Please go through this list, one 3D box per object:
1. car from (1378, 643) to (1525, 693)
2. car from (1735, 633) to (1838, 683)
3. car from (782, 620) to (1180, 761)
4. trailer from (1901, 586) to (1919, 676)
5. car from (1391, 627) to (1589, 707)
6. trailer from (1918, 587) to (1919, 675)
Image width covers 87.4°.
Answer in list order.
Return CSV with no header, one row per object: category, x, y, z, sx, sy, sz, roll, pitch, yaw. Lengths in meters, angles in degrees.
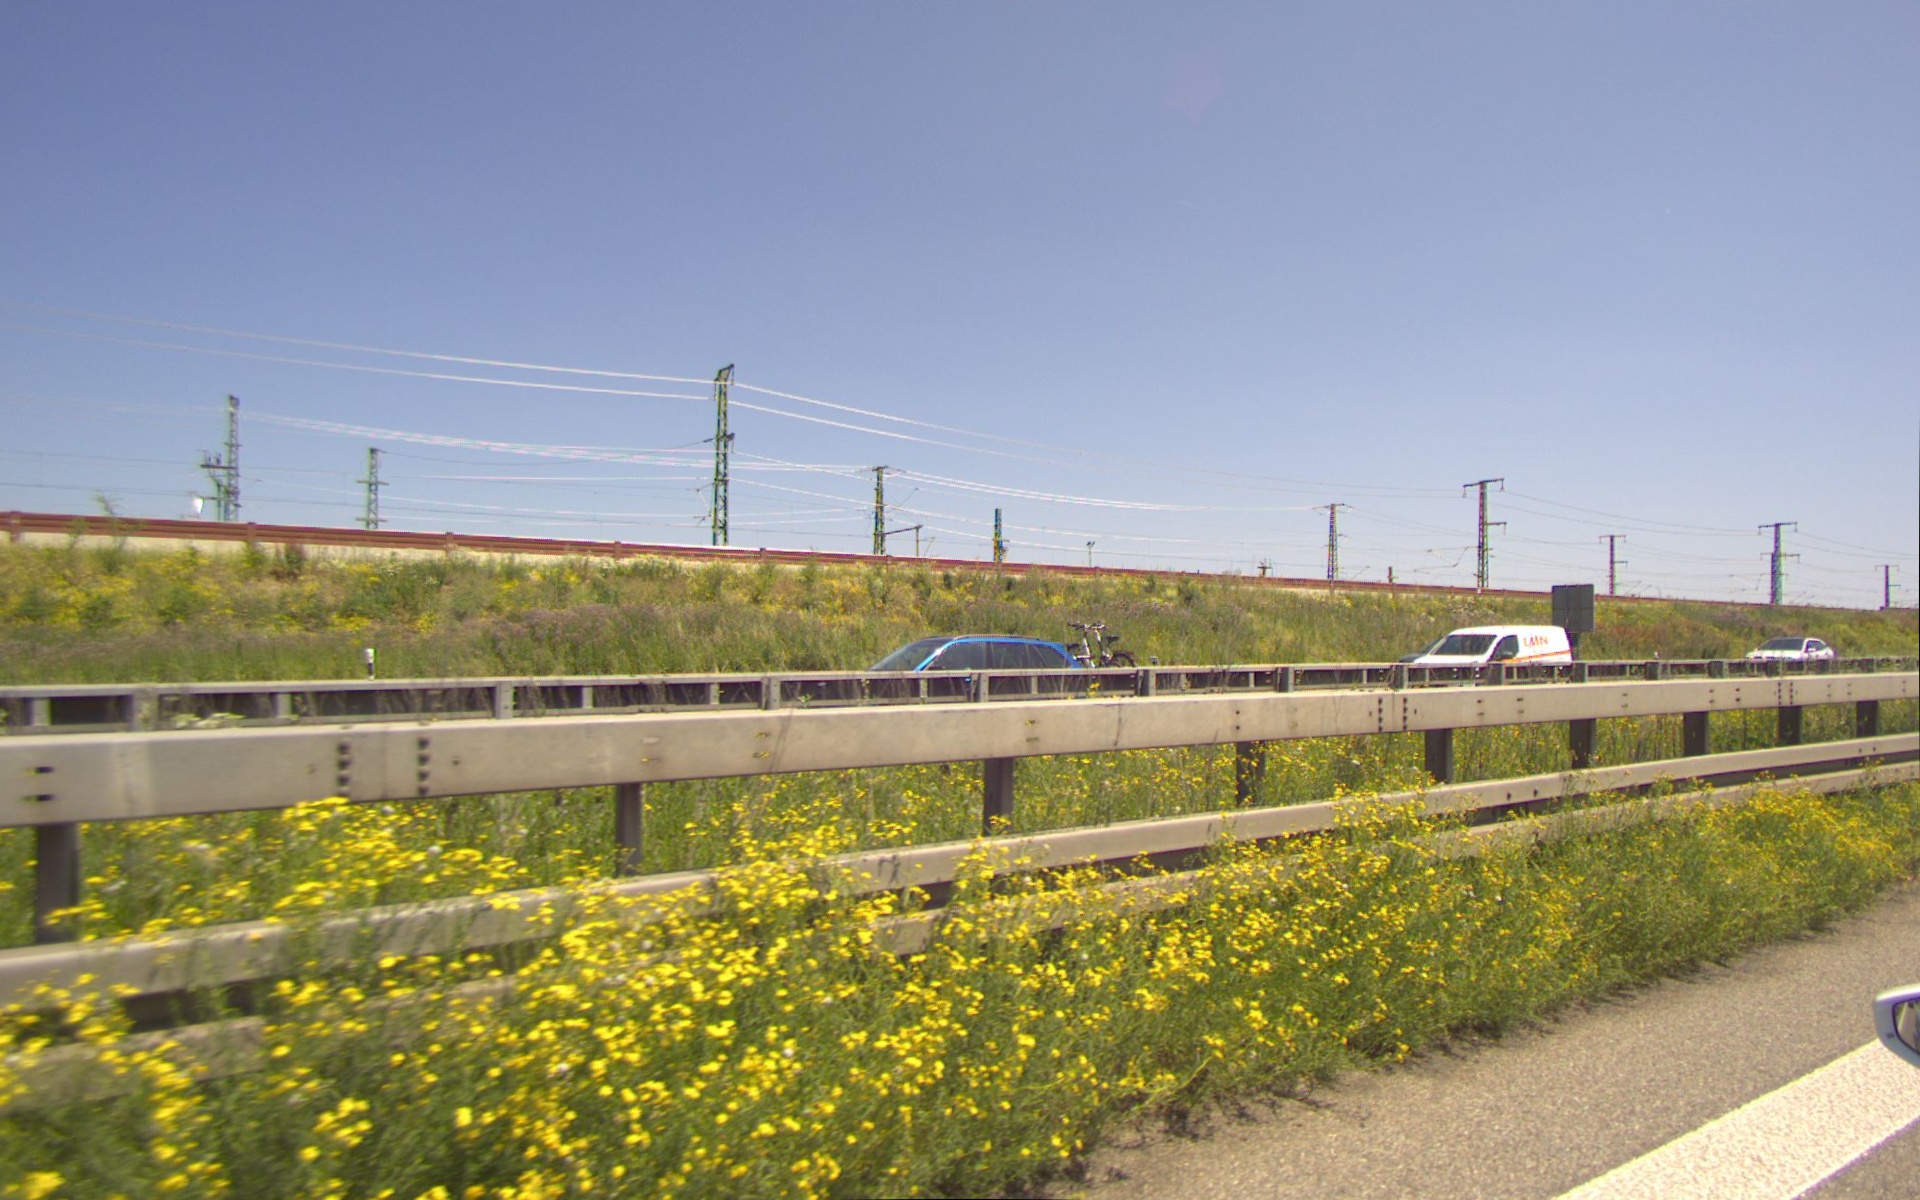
car,15.300,2.063,31.234,4.530,1.436,1.911,1,-3,-30
car,35.727,2.535,43.407,4.442,2.040,1.985,3,-3,-30
car,0.399,1.141,13.891,5.335,1.632,1.911,1,-3,-31
trailer,45.164,1.403,44.628,7.119,3.919,3.036,1,-1,-31
car,13.205,1.611,24.950,5.135,1.824,1.911,1,-3,-30
trailer,50.562,1.540,47.853,15.791,3.919,3.036,1,-1,-31
